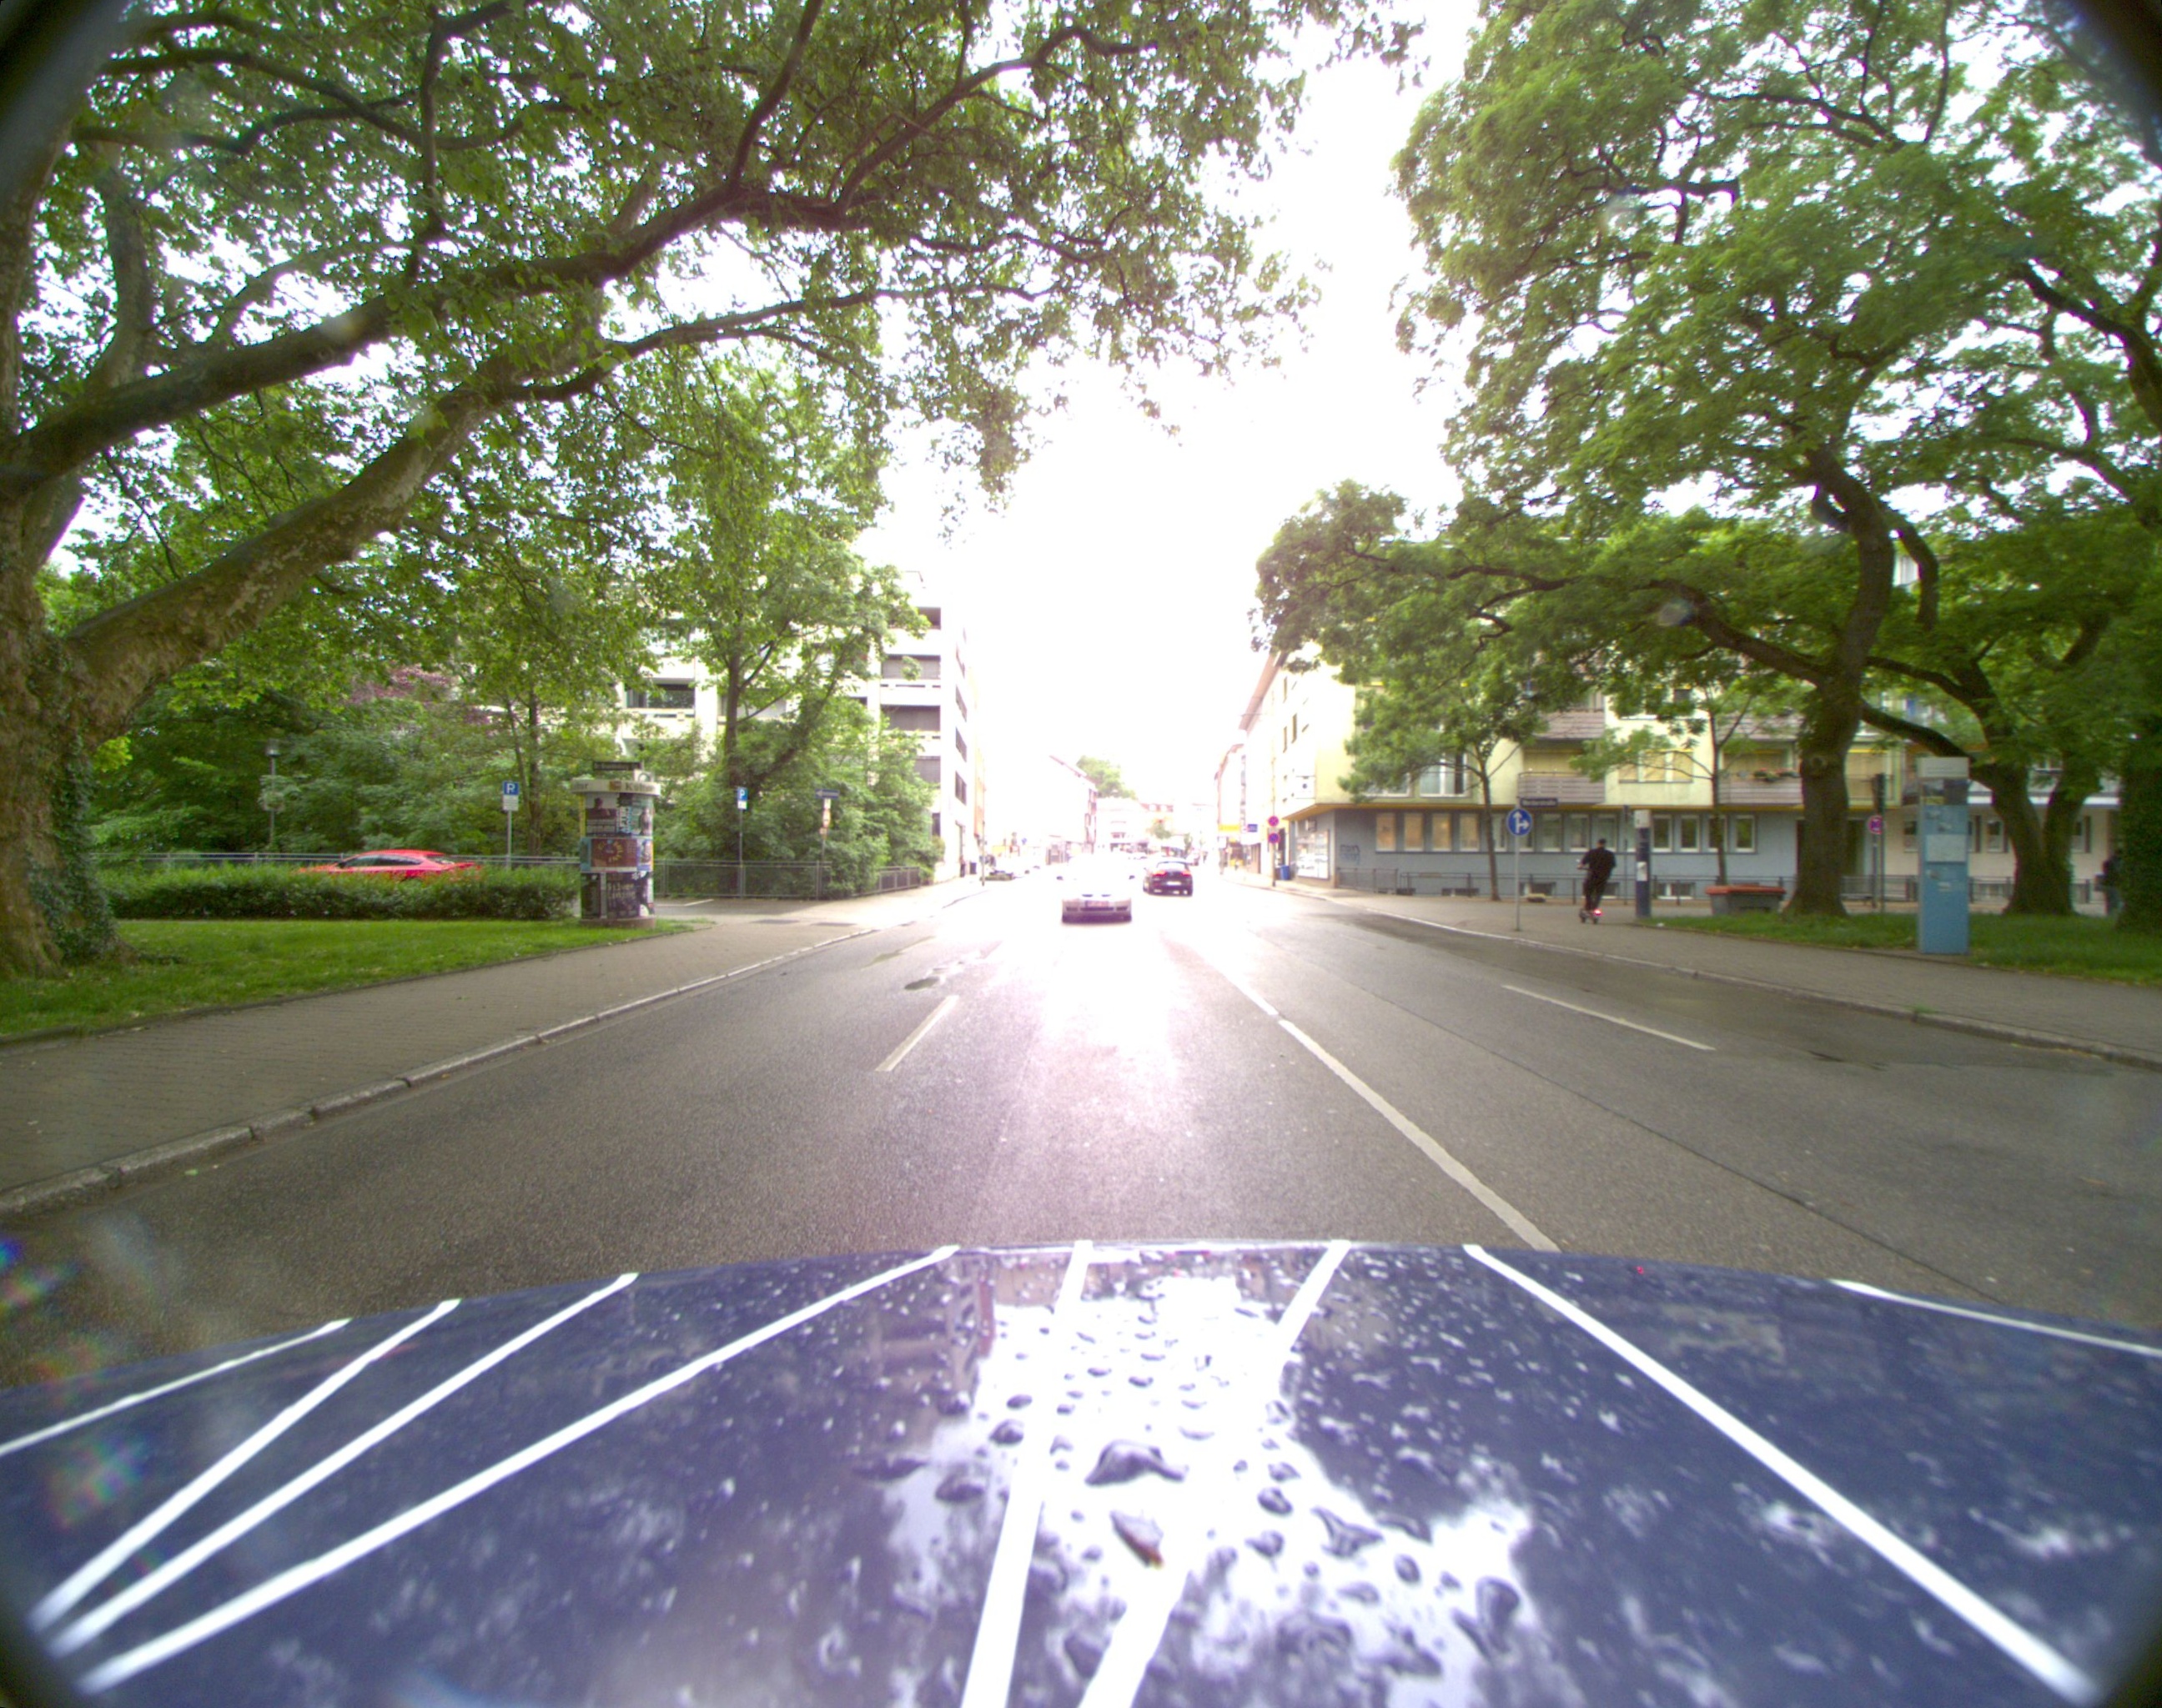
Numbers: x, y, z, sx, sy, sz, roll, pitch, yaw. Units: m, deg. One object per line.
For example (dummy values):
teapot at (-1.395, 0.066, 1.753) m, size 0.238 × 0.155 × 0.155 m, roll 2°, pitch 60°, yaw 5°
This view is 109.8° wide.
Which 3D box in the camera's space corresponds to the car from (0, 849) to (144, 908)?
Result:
car at (-29.534, 0.670, 21.399) m, size 3.932 × 1.561 × 1.735 m, roll 1°, pitch 0°, yaw -4°

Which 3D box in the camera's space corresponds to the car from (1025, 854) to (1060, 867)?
car at (-4.742, 0.825, 93.547) m, size 4.157 × 1.576 × 1.801 m, roll 1°, pitch 0°, yaw -1°

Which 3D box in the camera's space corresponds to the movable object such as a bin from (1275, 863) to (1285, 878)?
movable object such as a bin at (12.879, 1.046, 49.201) m, size 0.529 × 0.922 × 0.426 m, roll -4°, pitch 0°, yaw 8°

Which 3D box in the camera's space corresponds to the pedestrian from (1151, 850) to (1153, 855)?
pedestrian at (16.866, -0.363, 180.337) m, size 0.379 × 1.283 × 0.401 m, roll 1°, pitch 1°, yaw 38°

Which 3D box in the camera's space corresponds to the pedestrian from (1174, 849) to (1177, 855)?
pedestrian at (21.653, -0.466, 174.376) m, size 0.643 × 1.521 × 0.645 m, roll -2°, pitch 1°, yaw 10°

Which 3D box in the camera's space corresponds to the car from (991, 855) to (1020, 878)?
car at (-5.324, 0.870, 53.970) m, size 1.706 × 1.549 × 3.804 m, roll 1°, pitch 0°, yaw -1°

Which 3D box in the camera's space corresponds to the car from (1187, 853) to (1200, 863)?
car at (17.965, 0.679, 121.377) m, size 1.834 × 1.612 × 4.003 m, roll 0°, pitch 0°, yaw 10°

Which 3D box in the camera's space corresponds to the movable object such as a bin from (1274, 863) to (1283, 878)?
movable object such as a bin at (12.922, 1.065, 49.725) m, size 0.465 × 0.922 × 0.428 m, roll -4°, pitch 0°, yaw 8°

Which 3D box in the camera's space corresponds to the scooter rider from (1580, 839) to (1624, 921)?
scooter rider at (11.449, 0.555, 16.693) m, size 0.733 × 1.756 × 0.646 m, roll 1°, pitch 2°, yaw 37°

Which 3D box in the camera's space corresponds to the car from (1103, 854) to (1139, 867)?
car at (5.050, 0.816, 96.501) m, size 4.166 × 1.576 × 1.797 m, roll 1°, pitch 0°, yaw -27°

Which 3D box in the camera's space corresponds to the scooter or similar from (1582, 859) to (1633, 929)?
scooter or similar at (11.503, 0.852, 16.631) m, size 0.815 × 1.437 × 1.401 m, roll -3°, pitch 0°, yaw 33°

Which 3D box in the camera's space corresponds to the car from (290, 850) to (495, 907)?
car at (-19.555, 0.675, 21.748) m, size 3.999 × 1.473 × 1.875 m, roll 1°, pitch 1°, yaw -5°

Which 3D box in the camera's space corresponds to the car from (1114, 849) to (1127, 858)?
car at (7.743, -0.132, 147.555) m, size 2.043 × 1.754 × 4.573 m, roll 1°, pitch 0°, yaw 9°

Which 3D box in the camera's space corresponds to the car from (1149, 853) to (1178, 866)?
car at (11.310, 0.742, 103.528) m, size 1.753 × 1.559 × 4.701 m, roll -2°, pitch 0°, yaw 36°

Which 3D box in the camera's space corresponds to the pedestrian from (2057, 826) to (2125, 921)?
pedestrian at (22.128, 0.414, 16.665) m, size 0.780 × 2.002 × 0.754 m, roll 1°, pitch 1°, yaw 44°

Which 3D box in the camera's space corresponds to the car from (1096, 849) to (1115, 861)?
car at (3.704, 0.128, 113.510) m, size 2.015 × 1.754 × 4.767 m, roll 1°, pitch 0°, yaw 12°

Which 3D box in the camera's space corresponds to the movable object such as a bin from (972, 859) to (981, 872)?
movable object such as a bin at (-8.598, 0.961, 62.799) m, size 0.681 × 1.097 × 0.514 m, roll 0°, pitch 1°, yaw -2°

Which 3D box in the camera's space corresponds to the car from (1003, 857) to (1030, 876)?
car at (-5.122, 0.932, 60.473) m, size 1.835 × 1.412 × 4.569 m, roll 1°, pitch 0°, yaw -1°

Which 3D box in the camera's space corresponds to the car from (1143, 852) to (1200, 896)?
car at (3.573, 0.758, 30.607) m, size 1.850 × 1.616 × 4.138 m, roll 1°, pitch 0°, yaw 1°

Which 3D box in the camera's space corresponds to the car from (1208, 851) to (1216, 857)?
car at (33.333, -0.003, 193.418) m, size 1.591 × 1.518 × 3.491 m, roll 0°, pitch 0°, yaw 14°

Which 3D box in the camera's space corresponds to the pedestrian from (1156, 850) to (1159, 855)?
pedestrian at (17.945, -0.371, 178.429) m, size 0.379 × 1.283 × 0.401 m, roll 1°, pitch 1°, yaw 40°

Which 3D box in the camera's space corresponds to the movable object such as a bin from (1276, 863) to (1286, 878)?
movable object such as a bin at (12.820, 1.058, 48.729) m, size 0.529 × 0.890 × 0.435 m, roll -4°, pitch 0°, yaw 8°

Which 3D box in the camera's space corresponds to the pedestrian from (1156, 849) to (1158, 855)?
pedestrian at (18.335, -0.453, 183.122) m, size 0.379 × 1.283 × 0.401 m, roll 0°, pitch 1°, yaw 38°

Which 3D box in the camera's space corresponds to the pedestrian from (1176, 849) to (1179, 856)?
pedestrian at (22.495, -0.419, 176.751) m, size 0.643 × 1.521 × 0.644 m, roll -2°, pitch 1°, yaw -4°

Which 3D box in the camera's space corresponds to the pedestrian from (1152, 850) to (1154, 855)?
pedestrian at (17.431, -0.430, 184.603) m, size 0.379 × 1.283 × 0.401 m, roll 0°, pitch 1°, yaw 38°

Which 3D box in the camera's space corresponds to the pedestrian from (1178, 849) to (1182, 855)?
pedestrian at (22.901, -0.477, 175.488) m, size 0.644 × 1.521 × 0.644 m, roll -3°, pitch 1°, yaw -6°

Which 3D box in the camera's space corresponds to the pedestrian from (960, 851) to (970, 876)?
pedestrian at (-8.055, 0.646, 52.643) m, size 0.599 × 1.650 × 0.691 m, roll 3°, pitch 0°, yaw -7°

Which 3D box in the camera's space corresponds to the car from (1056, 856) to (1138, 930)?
car at (0.381, 0.855, 18.687) m, size 1.756 × 1.559 × 4.000 m, roll -2°, pitch 0°, yaw 1°

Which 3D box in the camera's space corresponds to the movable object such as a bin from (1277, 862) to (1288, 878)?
movable object such as a bin at (12.801, 1.016, 48.238) m, size 0.529 × 0.955 × 0.435 m, roll -4°, pitch 0°, yaw 8°

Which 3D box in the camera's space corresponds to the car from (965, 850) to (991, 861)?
car at (-16.418, 0.212, 121.137) m, size 3.783 × 1.701 × 1.842 m, roll 0°, pitch 0°, yaw 20°

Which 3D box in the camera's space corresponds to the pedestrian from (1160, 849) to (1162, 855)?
pedestrian at (18.875, -0.436, 178.532) m, size 0.379 × 1.283 × 0.401 m, roll 1°, pitch 1°, yaw 39°

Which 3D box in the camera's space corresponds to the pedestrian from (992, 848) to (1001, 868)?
pedestrian at (-9.242, 0.460, 83.285) m, size 0.806 × 2.140 × 0.737 m, roll 0°, pitch 1°, yaw -23°
